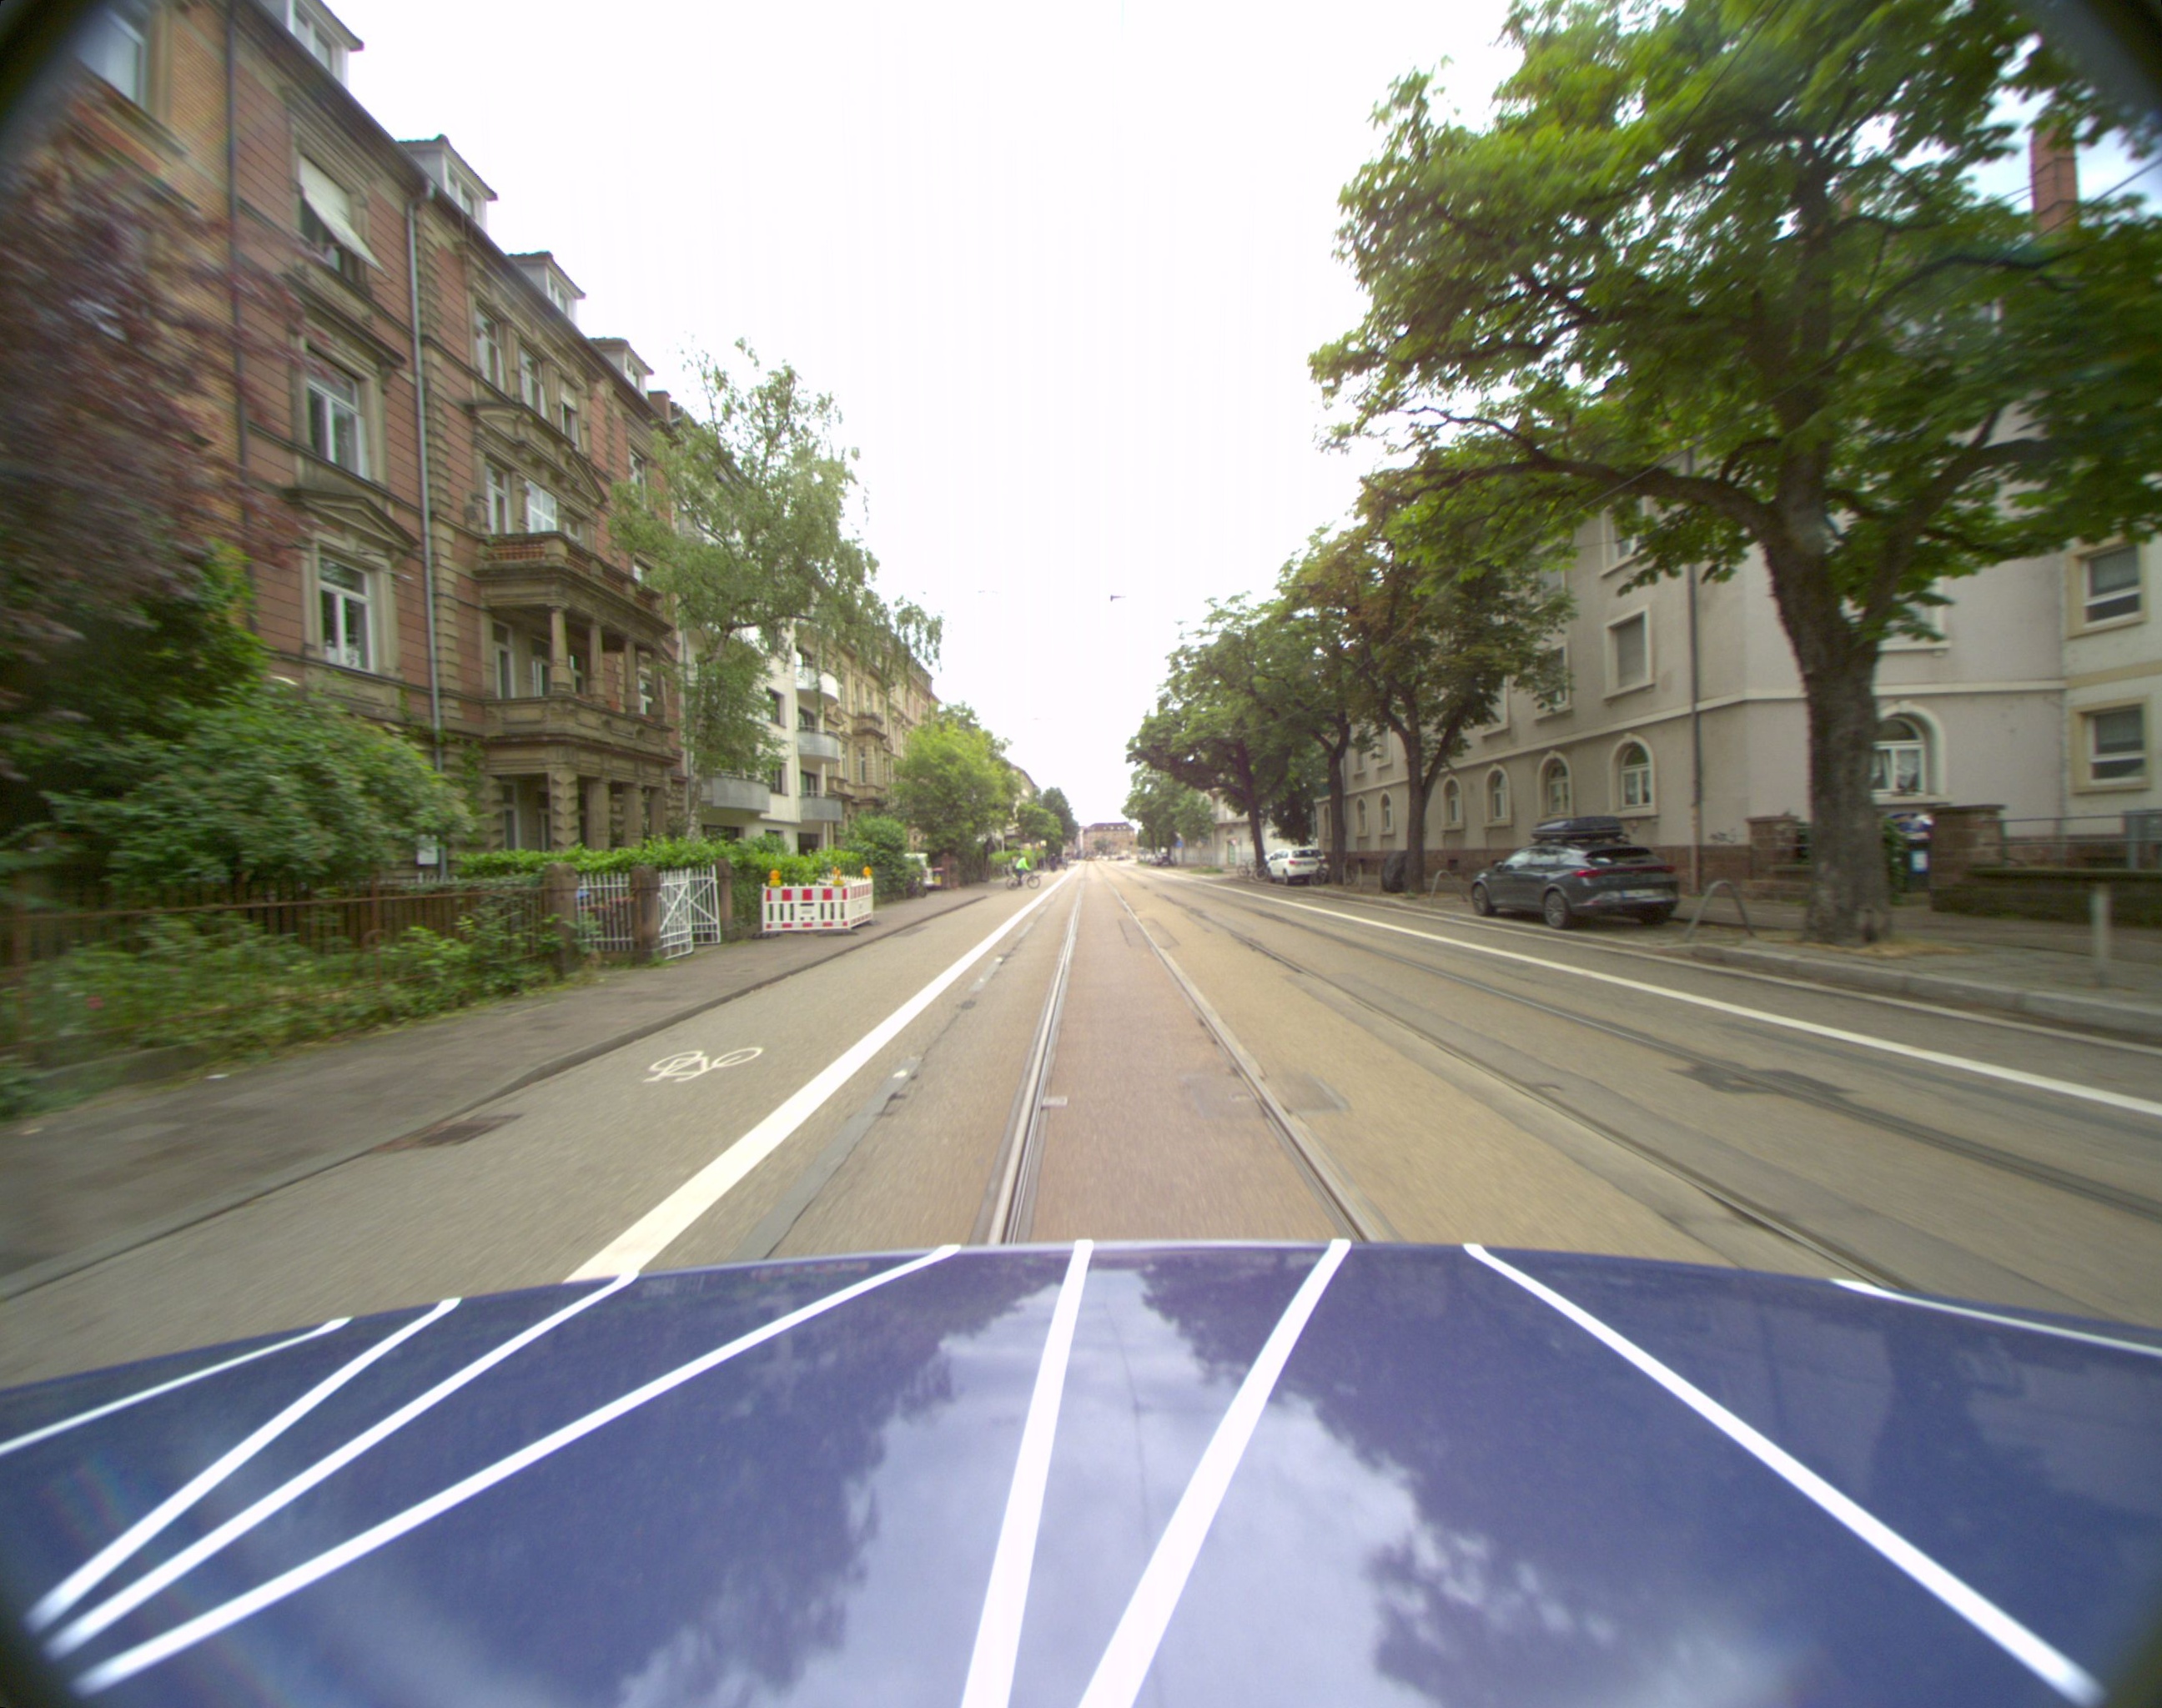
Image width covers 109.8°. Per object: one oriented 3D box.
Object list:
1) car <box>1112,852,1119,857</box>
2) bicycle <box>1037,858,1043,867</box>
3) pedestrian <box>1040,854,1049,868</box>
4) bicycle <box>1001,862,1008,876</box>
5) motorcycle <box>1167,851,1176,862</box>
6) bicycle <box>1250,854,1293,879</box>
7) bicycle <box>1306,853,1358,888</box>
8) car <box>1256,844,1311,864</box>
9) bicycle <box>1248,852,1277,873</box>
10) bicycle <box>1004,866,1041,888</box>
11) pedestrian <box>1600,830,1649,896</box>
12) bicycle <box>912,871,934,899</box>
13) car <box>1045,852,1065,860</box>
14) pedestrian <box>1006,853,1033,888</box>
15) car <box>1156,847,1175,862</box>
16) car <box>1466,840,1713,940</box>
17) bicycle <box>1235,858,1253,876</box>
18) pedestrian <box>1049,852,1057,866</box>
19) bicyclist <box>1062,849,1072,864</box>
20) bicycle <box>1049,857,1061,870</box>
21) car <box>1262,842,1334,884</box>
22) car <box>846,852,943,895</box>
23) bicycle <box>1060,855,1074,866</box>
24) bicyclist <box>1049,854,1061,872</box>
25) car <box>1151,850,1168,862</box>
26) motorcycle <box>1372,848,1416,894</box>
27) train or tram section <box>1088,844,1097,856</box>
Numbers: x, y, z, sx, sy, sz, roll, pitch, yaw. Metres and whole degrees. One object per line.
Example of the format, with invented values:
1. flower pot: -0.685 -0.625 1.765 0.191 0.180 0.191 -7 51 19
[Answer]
1. car: 9.462 0.171 208.119 1.733 1.400 3.655 -2 0 1
2. bicycle: -4.847 0.986 89.533 0.634 1.121 1.812 0 -1 0
3. pedestrian: -4.489 0.873 93.101 0.794 1.627 0.837 -1 2 16
4. bicycle: -5.985 1.165 59.417 0.302 1.035 1.848 -2 0 1
5. motorcycle: 10.118 0.284 84.703 0.541 1.250 2.141 -2 0 -6
6. bicycle: 9.424 0.604 37.659 1.927 1.114 0.624 -4 1 1
7. bicycle: 9.377 0.635 28.461 1.746 1.184 0.654 -4 -5 15
8. car: 18.400 0.002 69.026 4.505 1.653 1.942 -2 0 26
9. bicycle: 10.049 0.471 42.089 0.677 1.129 1.934 -2 -1 -16
10. bicycle: -3.031 1.165 39.181 1.845 1.069 0.606 1 0 -1
11. pedestrian: 12.423 0.211 17.387 0.566 1.459 0.722 -2 1 1
12. bicycle: -6.341 1.244 30.498 0.480 1.039 1.531 -2 0 1
13. car: -6.048 0.415 176.981 4.330 1.542 1.747 -2 0 -22
14. pedestrian: -3.180 0.842 39.358 1.232 1.723 1.018 1 0 0
15. car: 10.126 0.092 91.614 1.842 1.651 4.293 -5 0 2
16. car: 9.107 0.566 14.127 1.781 1.502 4.238 -3 0 2
17. bicycle: 9.050 0.722 42.267 0.485 0.952 1.397 -2 0 -7
18. pedestrian: -3.421 0.658 92.528 0.875 1.646 0.908 -3 0 -8
19. bicyclist: -1.608 0.339 87.576 0.774 1.681 0.870 -2 0 30
20. bicycle: -2.696 0.984 78.331 0.853 1.234 2.310 -3 1 5
21. car: 9.430 0.378 33.376 1.902 1.646 4.225 -3 0 0
22. car: -8.606 0.885 35.296 3.997 1.847 1.809 -2 0 1
23. bicycle: -1.628 0.750 87.503 0.774 1.205 1.872 -2 0 30
24. bicyclist: -2.679 0.928 78.333 0.881 1.811 1.479 -3 -1 5
25. car: 10.301 0.244 99.980 1.816 1.457 4.614 -3 0 0
26. motorcycle: 9.643 0.500 23.481 0.865 1.280 2.324 -3 0 14
27. train or tram section: 3.647 -1.306 239.413 2.631 3.659 5.984 -3 0 -1
